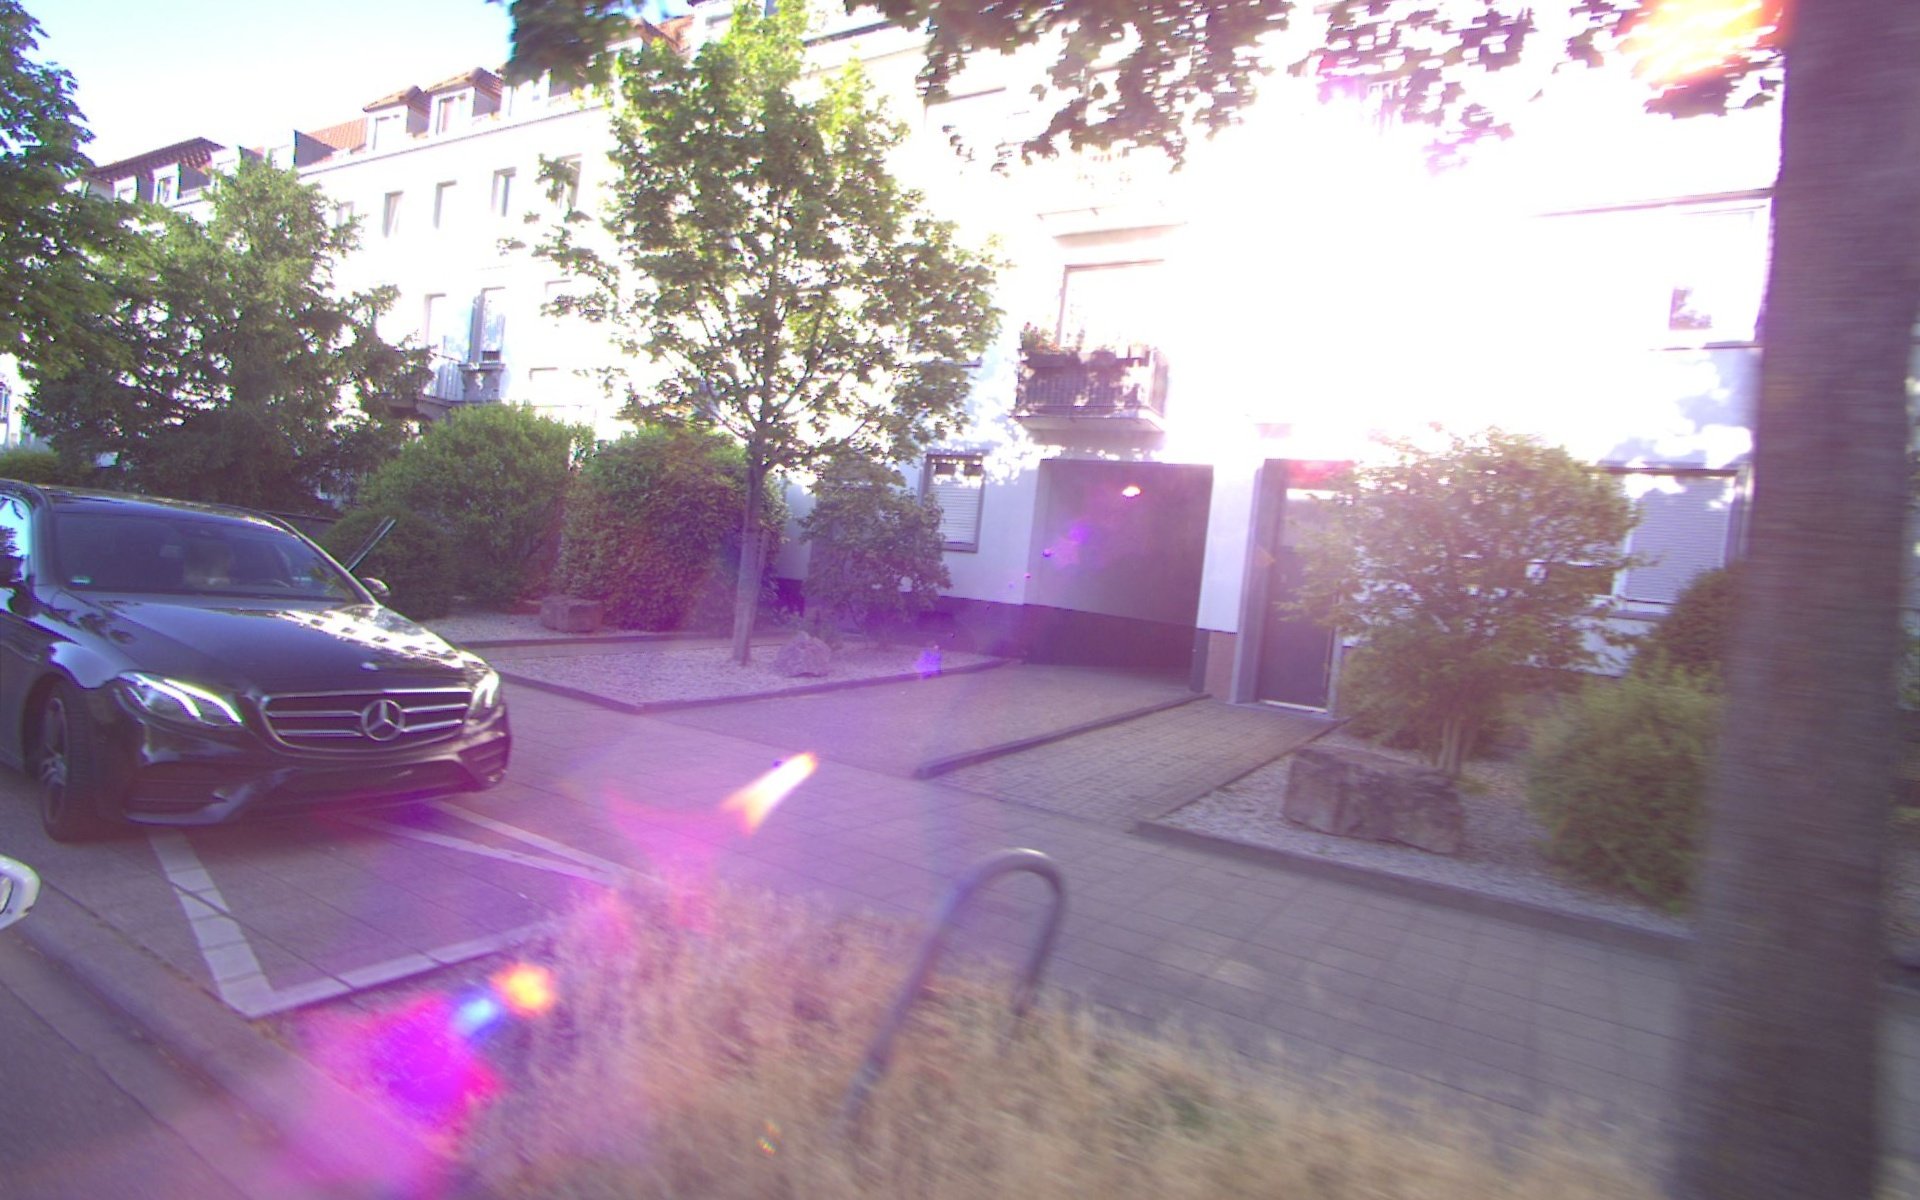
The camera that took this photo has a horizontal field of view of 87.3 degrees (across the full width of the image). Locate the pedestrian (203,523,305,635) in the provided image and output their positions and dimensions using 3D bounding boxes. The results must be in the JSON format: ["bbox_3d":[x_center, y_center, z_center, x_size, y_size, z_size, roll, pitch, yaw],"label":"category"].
[{"bbox_3d":[-8.654,-0.257,12.331,0.777,1.250,0.674,6,0,32],"label":"pedestrian"}]

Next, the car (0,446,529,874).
[{"bbox_3d":[-4.824,0.058,5.850,4.742,1.601,1.875,7,1,33],"label":"car"}]

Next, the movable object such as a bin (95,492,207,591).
[{"bbox_3d":[-13.736,-0.985,17.088,1.123,1.512,1.264,7,3,41],"label":"movable object such as a bin"}]
